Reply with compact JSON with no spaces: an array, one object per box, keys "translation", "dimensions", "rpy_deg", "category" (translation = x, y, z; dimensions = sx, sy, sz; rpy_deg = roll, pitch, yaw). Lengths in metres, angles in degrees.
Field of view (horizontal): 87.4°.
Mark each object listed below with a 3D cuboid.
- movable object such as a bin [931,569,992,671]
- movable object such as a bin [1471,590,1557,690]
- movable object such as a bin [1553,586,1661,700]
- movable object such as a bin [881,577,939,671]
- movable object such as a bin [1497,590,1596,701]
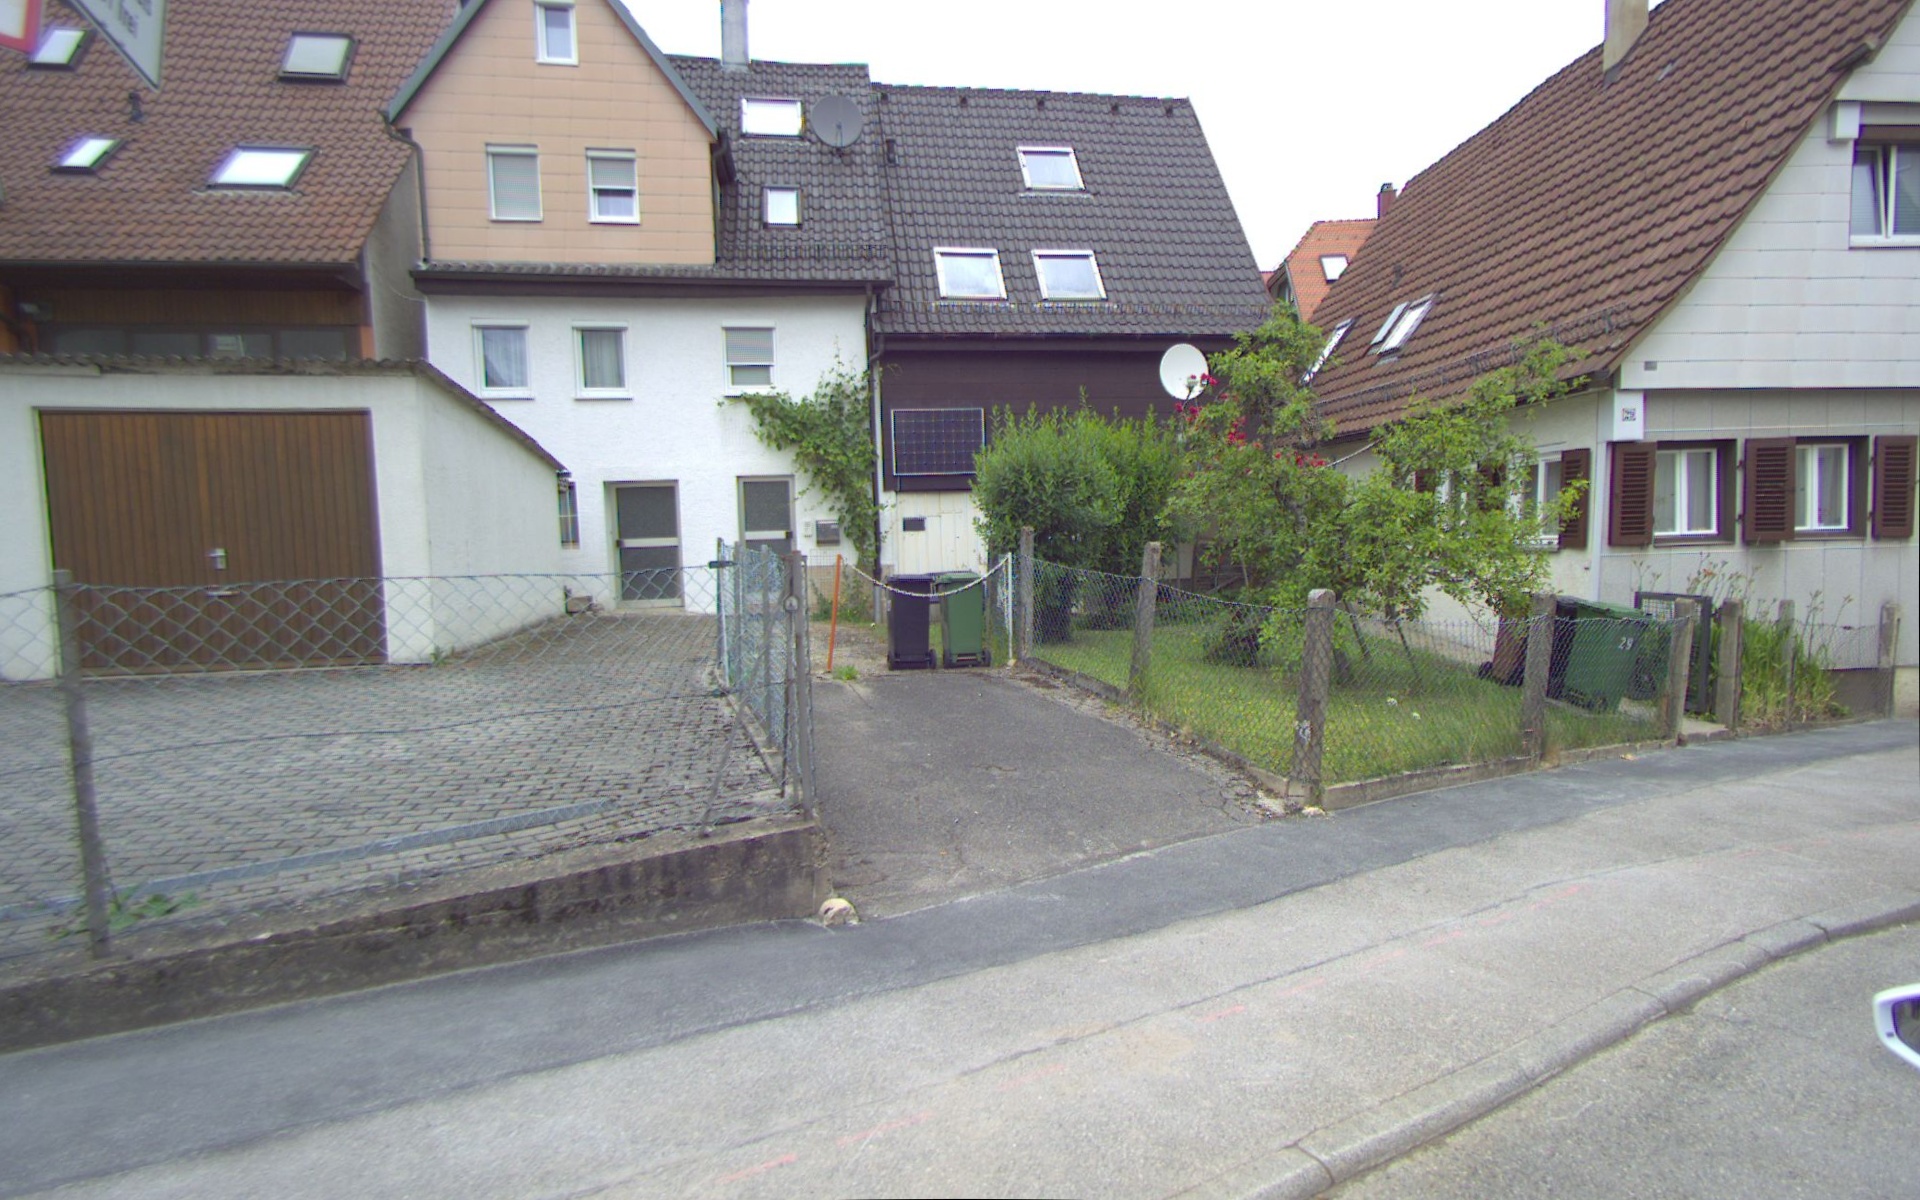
[{"translation":[0.013,0.196,10.094],"dimensions":[0.500,0.994,0.398],"rpy_deg":[1,1,-18],"category":"movable object such as a bin"},{"translation":[5.399,0.377,9.810],"dimensions":[0.444,0.890,0.495],"rpy_deg":[4,5,-5],"category":"movable object such as a bin"},{"translation":[5.619,0.361,8.744],"dimensions":[0.481,0.896,0.528],"rpy_deg":[4,5,-5],"category":"movable object such as a bin"},{"translation":[-0.497,0.230,9.928],"dimensions":[0.482,0.905,0.376],"rpy_deg":[1,2,-18],"category":"movable object such as a bin"},{"translation":[5.392,0.411,9.259],"dimensions":[0.481,0.930,0.528],"rpy_deg":[4,5,-5],"category":"movable object such as a bin"}]
